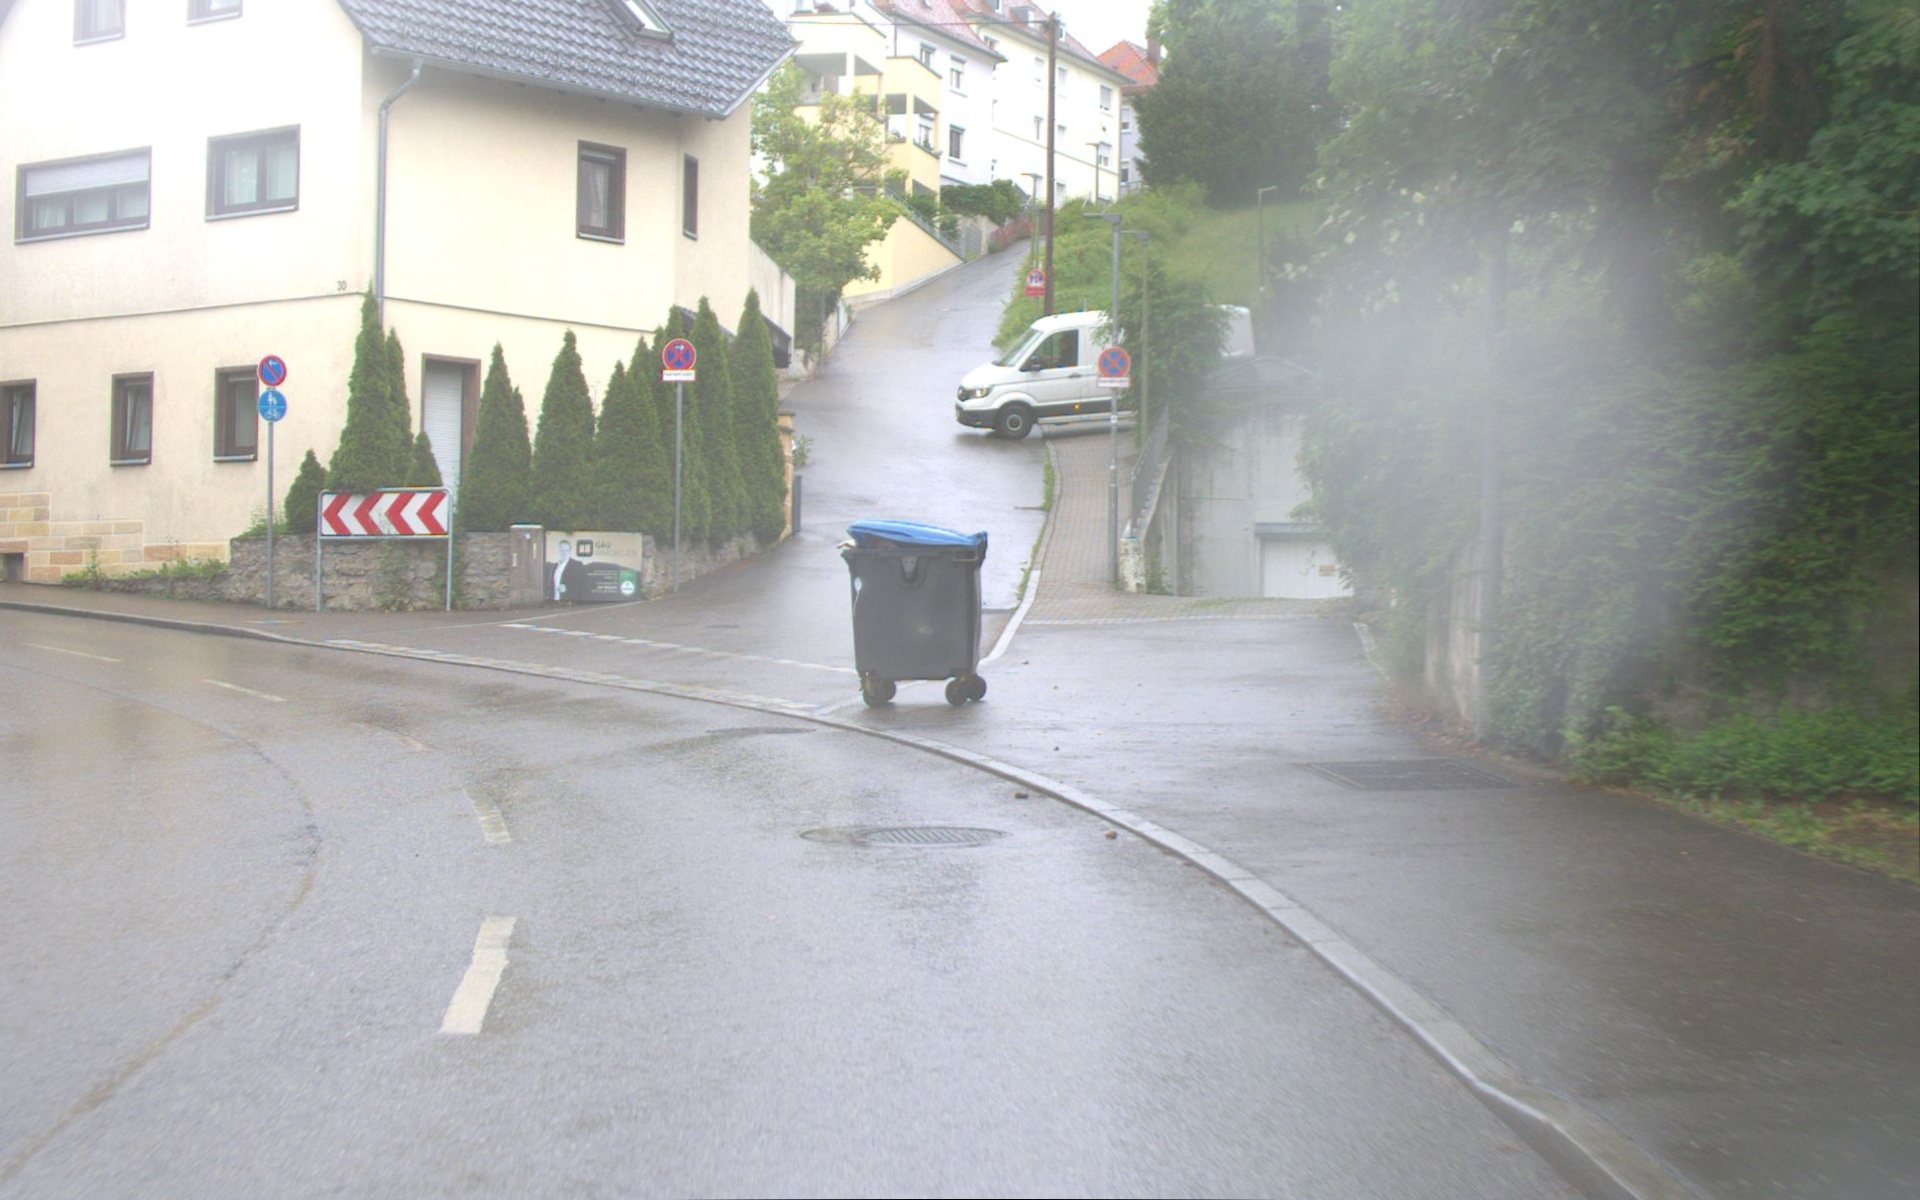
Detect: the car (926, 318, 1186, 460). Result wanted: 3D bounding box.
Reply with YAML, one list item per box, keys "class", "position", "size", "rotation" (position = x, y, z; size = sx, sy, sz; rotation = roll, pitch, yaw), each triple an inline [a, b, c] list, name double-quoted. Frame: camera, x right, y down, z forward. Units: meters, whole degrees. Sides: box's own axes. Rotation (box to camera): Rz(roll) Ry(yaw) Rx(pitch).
- class: "car"
  position: [1.852, -4.127, 67.563]
  size: [4.942, 2.560, 1.905]
  rotation: [-2, 1, -2]

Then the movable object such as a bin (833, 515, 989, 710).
- class: "movable object such as a bin"
  position: [-0.363, 0.075, 26.408]
  size: [1.081, 1.437, 1.458]
  rotation: [1, 1, 3]

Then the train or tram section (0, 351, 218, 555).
- class: "train or tram section"
  position: [-15.367, -2.338, 55.417]
  size: [2.363, 3.192, 6.856]
  rotation: [1, 2, 35]
